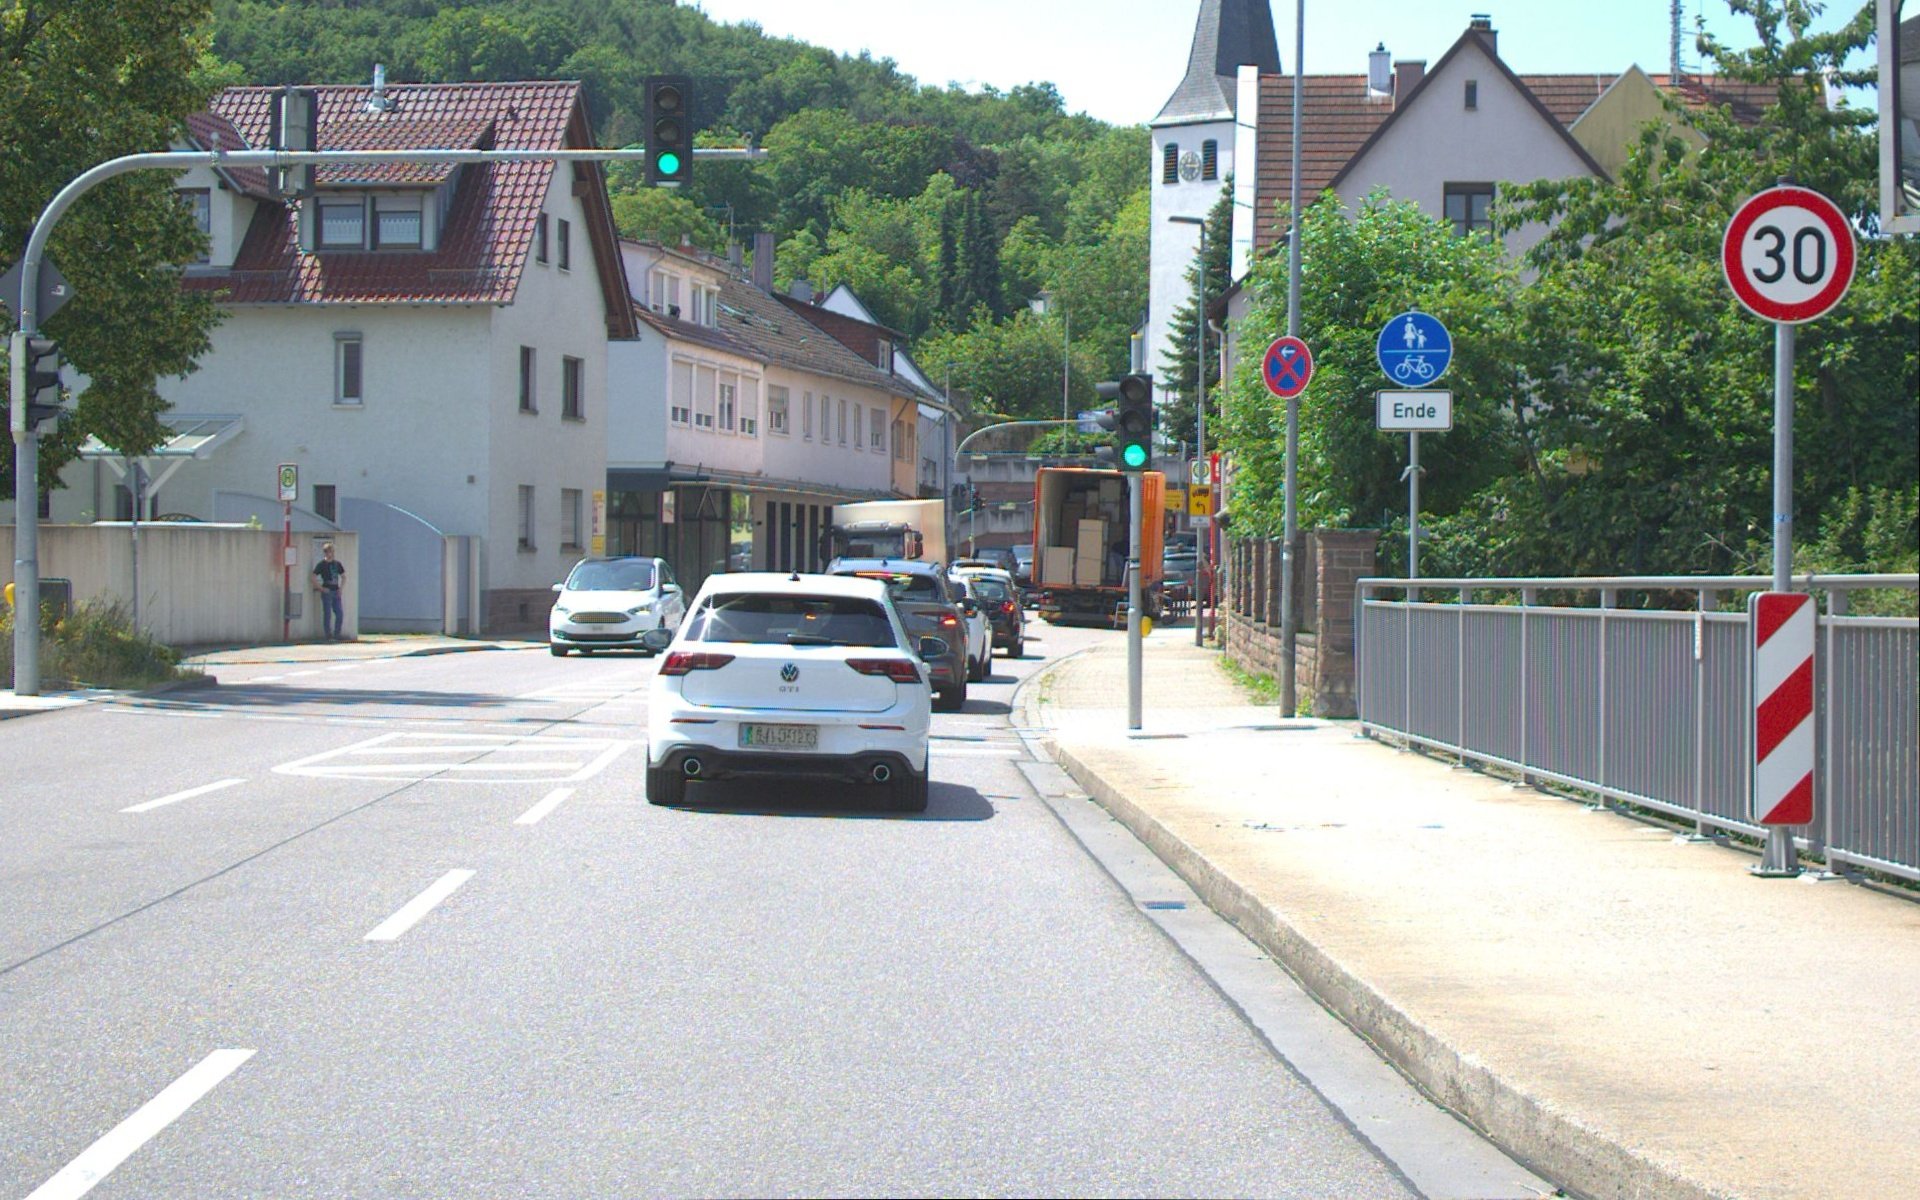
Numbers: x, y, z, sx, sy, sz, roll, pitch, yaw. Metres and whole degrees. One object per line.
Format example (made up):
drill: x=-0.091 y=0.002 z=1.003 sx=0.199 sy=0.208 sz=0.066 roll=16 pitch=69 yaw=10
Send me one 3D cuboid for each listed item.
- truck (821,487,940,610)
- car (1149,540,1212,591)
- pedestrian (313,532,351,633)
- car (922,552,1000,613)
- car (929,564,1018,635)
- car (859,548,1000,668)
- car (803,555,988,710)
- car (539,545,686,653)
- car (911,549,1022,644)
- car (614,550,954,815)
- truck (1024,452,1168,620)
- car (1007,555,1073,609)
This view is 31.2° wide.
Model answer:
truck: x=-2.130 y=-1.368 z=93.955 sx=2.502 sy=3.224 sz=6.039 roll=0 pitch=0 yaw=6
car: x=6.713 y=-1.046 z=104.918 sx=1.815 sy=1.514 sz=4.000 roll=0 pitch=0 yaw=2
pedestrian: x=-11.076 y=-0.309 z=60.612 sx=0.434 sy=1.758 sz=0.556 roll=1 pitch=1 yaw=21
car: x=0.052 y=-0.428 z=87.528 sx=1.815 sy=1.514 sz=4.000 roll=0 pitch=0 yaw=2
car: x=0.325 y=-0.007 z=75.351 sx=1.815 sy=1.514 sz=4.000 roll=0 pitch=0 yaw=2
car: x=-0.391 y=0.114 z=48.775 sx=1.815 sy=1.623 sz=4.000 roll=0 pitch=0 yaw=2
car: x=-0.661 y=0.338 z=38.098 sx=1.815 sy=1.623 sz=4.000 roll=0 pitch=0 yaw=2
car: x=-5.666 y=-0.017 z=56.526 sx=1.815 sy=1.644 sz=4.000 roll=2 pitch=0 yaw=2
car: x=0.148 y=-0.059 z=61.168 sx=1.815 sy=1.623 sz=4.000 roll=0 pitch=0 yaw=2
car: x=-1.048 y=0.489 z=22.419 sx=1.815 sy=1.514 sz=4.000 roll=2 pitch=0 yaw=2
truck: x=3.652 y=-1.589 z=90.000 sx=3.367 sy=4.156 sz=9.517 roll=0 pitch=0 yaw=5
car: x=2.320 y=-0.515 z=98.474 sx=1.815 sy=1.514 sz=4.000 roll=0 pitch=0 yaw=2
